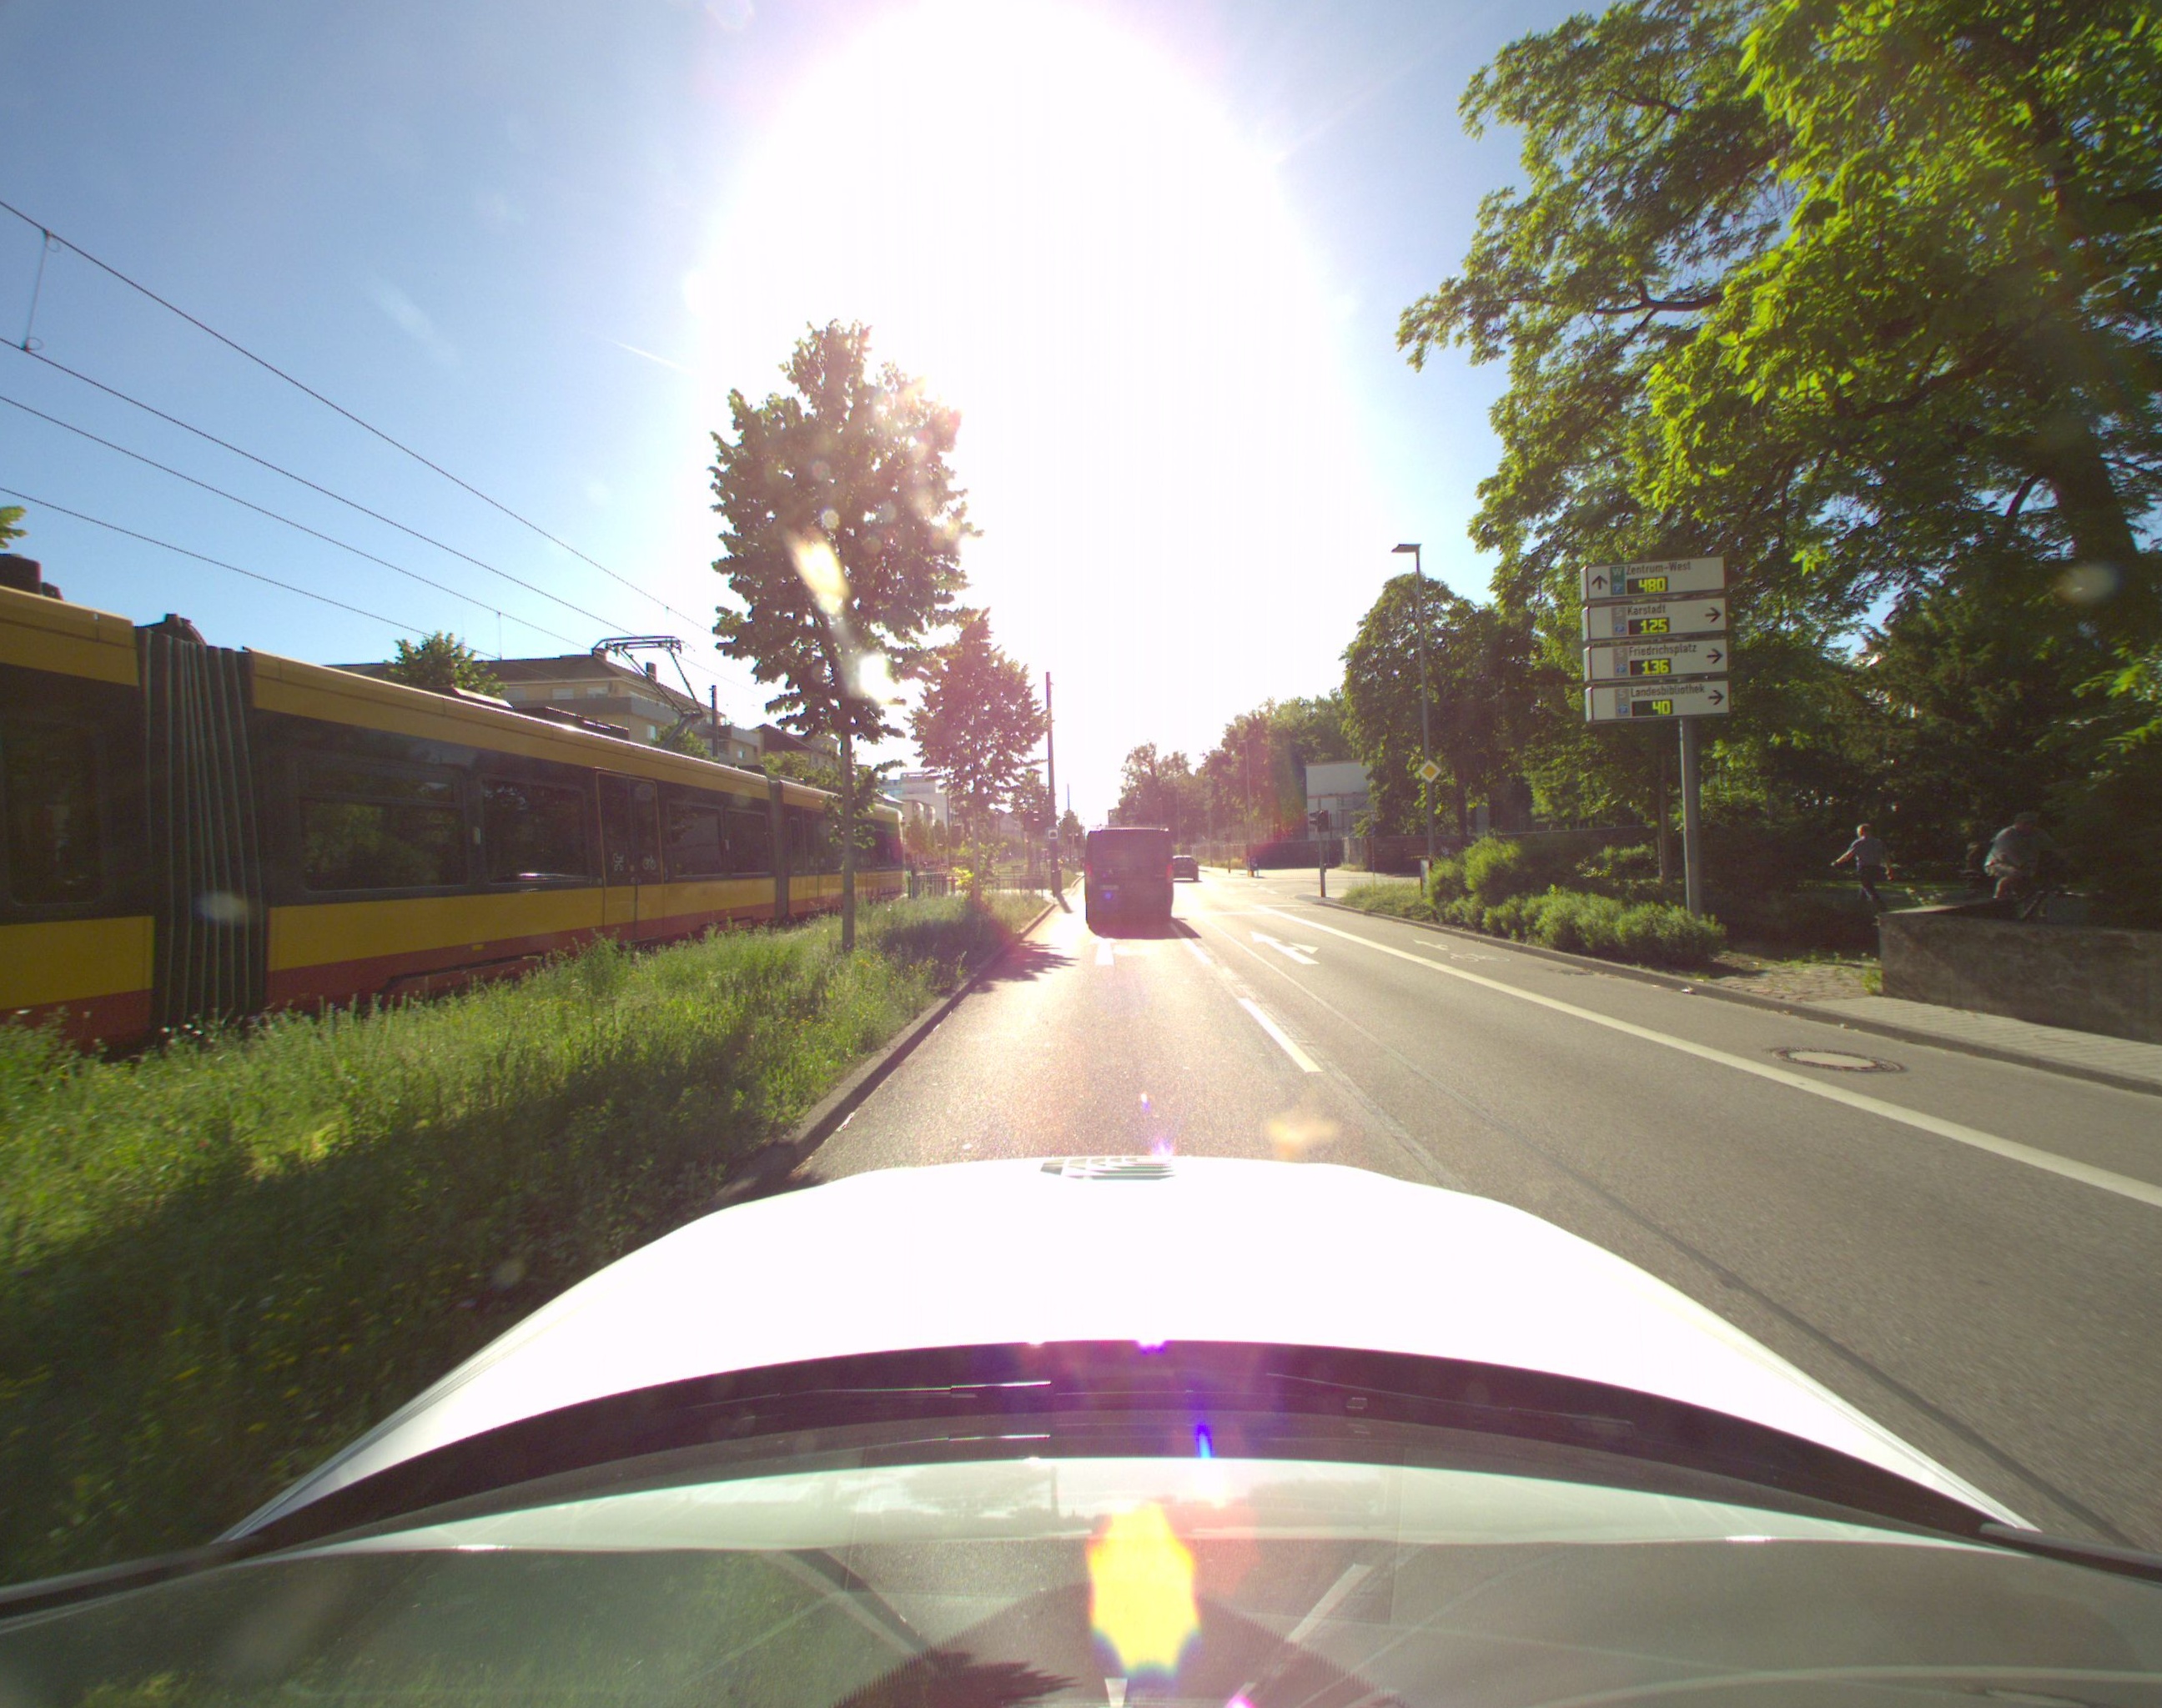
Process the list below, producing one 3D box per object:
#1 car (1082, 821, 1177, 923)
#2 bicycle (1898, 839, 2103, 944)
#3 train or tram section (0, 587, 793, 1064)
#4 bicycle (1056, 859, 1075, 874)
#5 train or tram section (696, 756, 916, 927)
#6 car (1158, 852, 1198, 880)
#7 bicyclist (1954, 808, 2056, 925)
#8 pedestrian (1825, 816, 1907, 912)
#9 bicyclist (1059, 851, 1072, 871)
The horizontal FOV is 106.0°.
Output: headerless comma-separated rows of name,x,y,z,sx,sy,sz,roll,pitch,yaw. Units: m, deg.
car,1.114,0.409,20.137,2.075,2.249,4.000,-1,0,1
bicycle,12.347,0.463,11.042,0.620,1.291,1.910,-1,0,1
train or tram section,-7.355,-0.206,11.974,1.986,3.669,11.317,-1,0,1
bicycle,-1.269,0.982,64.544,0.736,1.091,2.066,-1,0,-25
train or tram section,-7.136,-0.249,23.438,1.986,3.669,11.687,-1,0,2
car,5.441,0.672,46.213,1.758,1.462,3.998,-1,0,-1
bicyclist,12.330,0.160,10.880,0.684,1.507,0.571,-1,-1,1
pedestrian,14.435,0.172,14.986,0.740,1.702,0.867,-1,-1,-28
bicyclist,-1.218,0.560,64.437,0.830,1.512,0.724,-1,-1,-24
